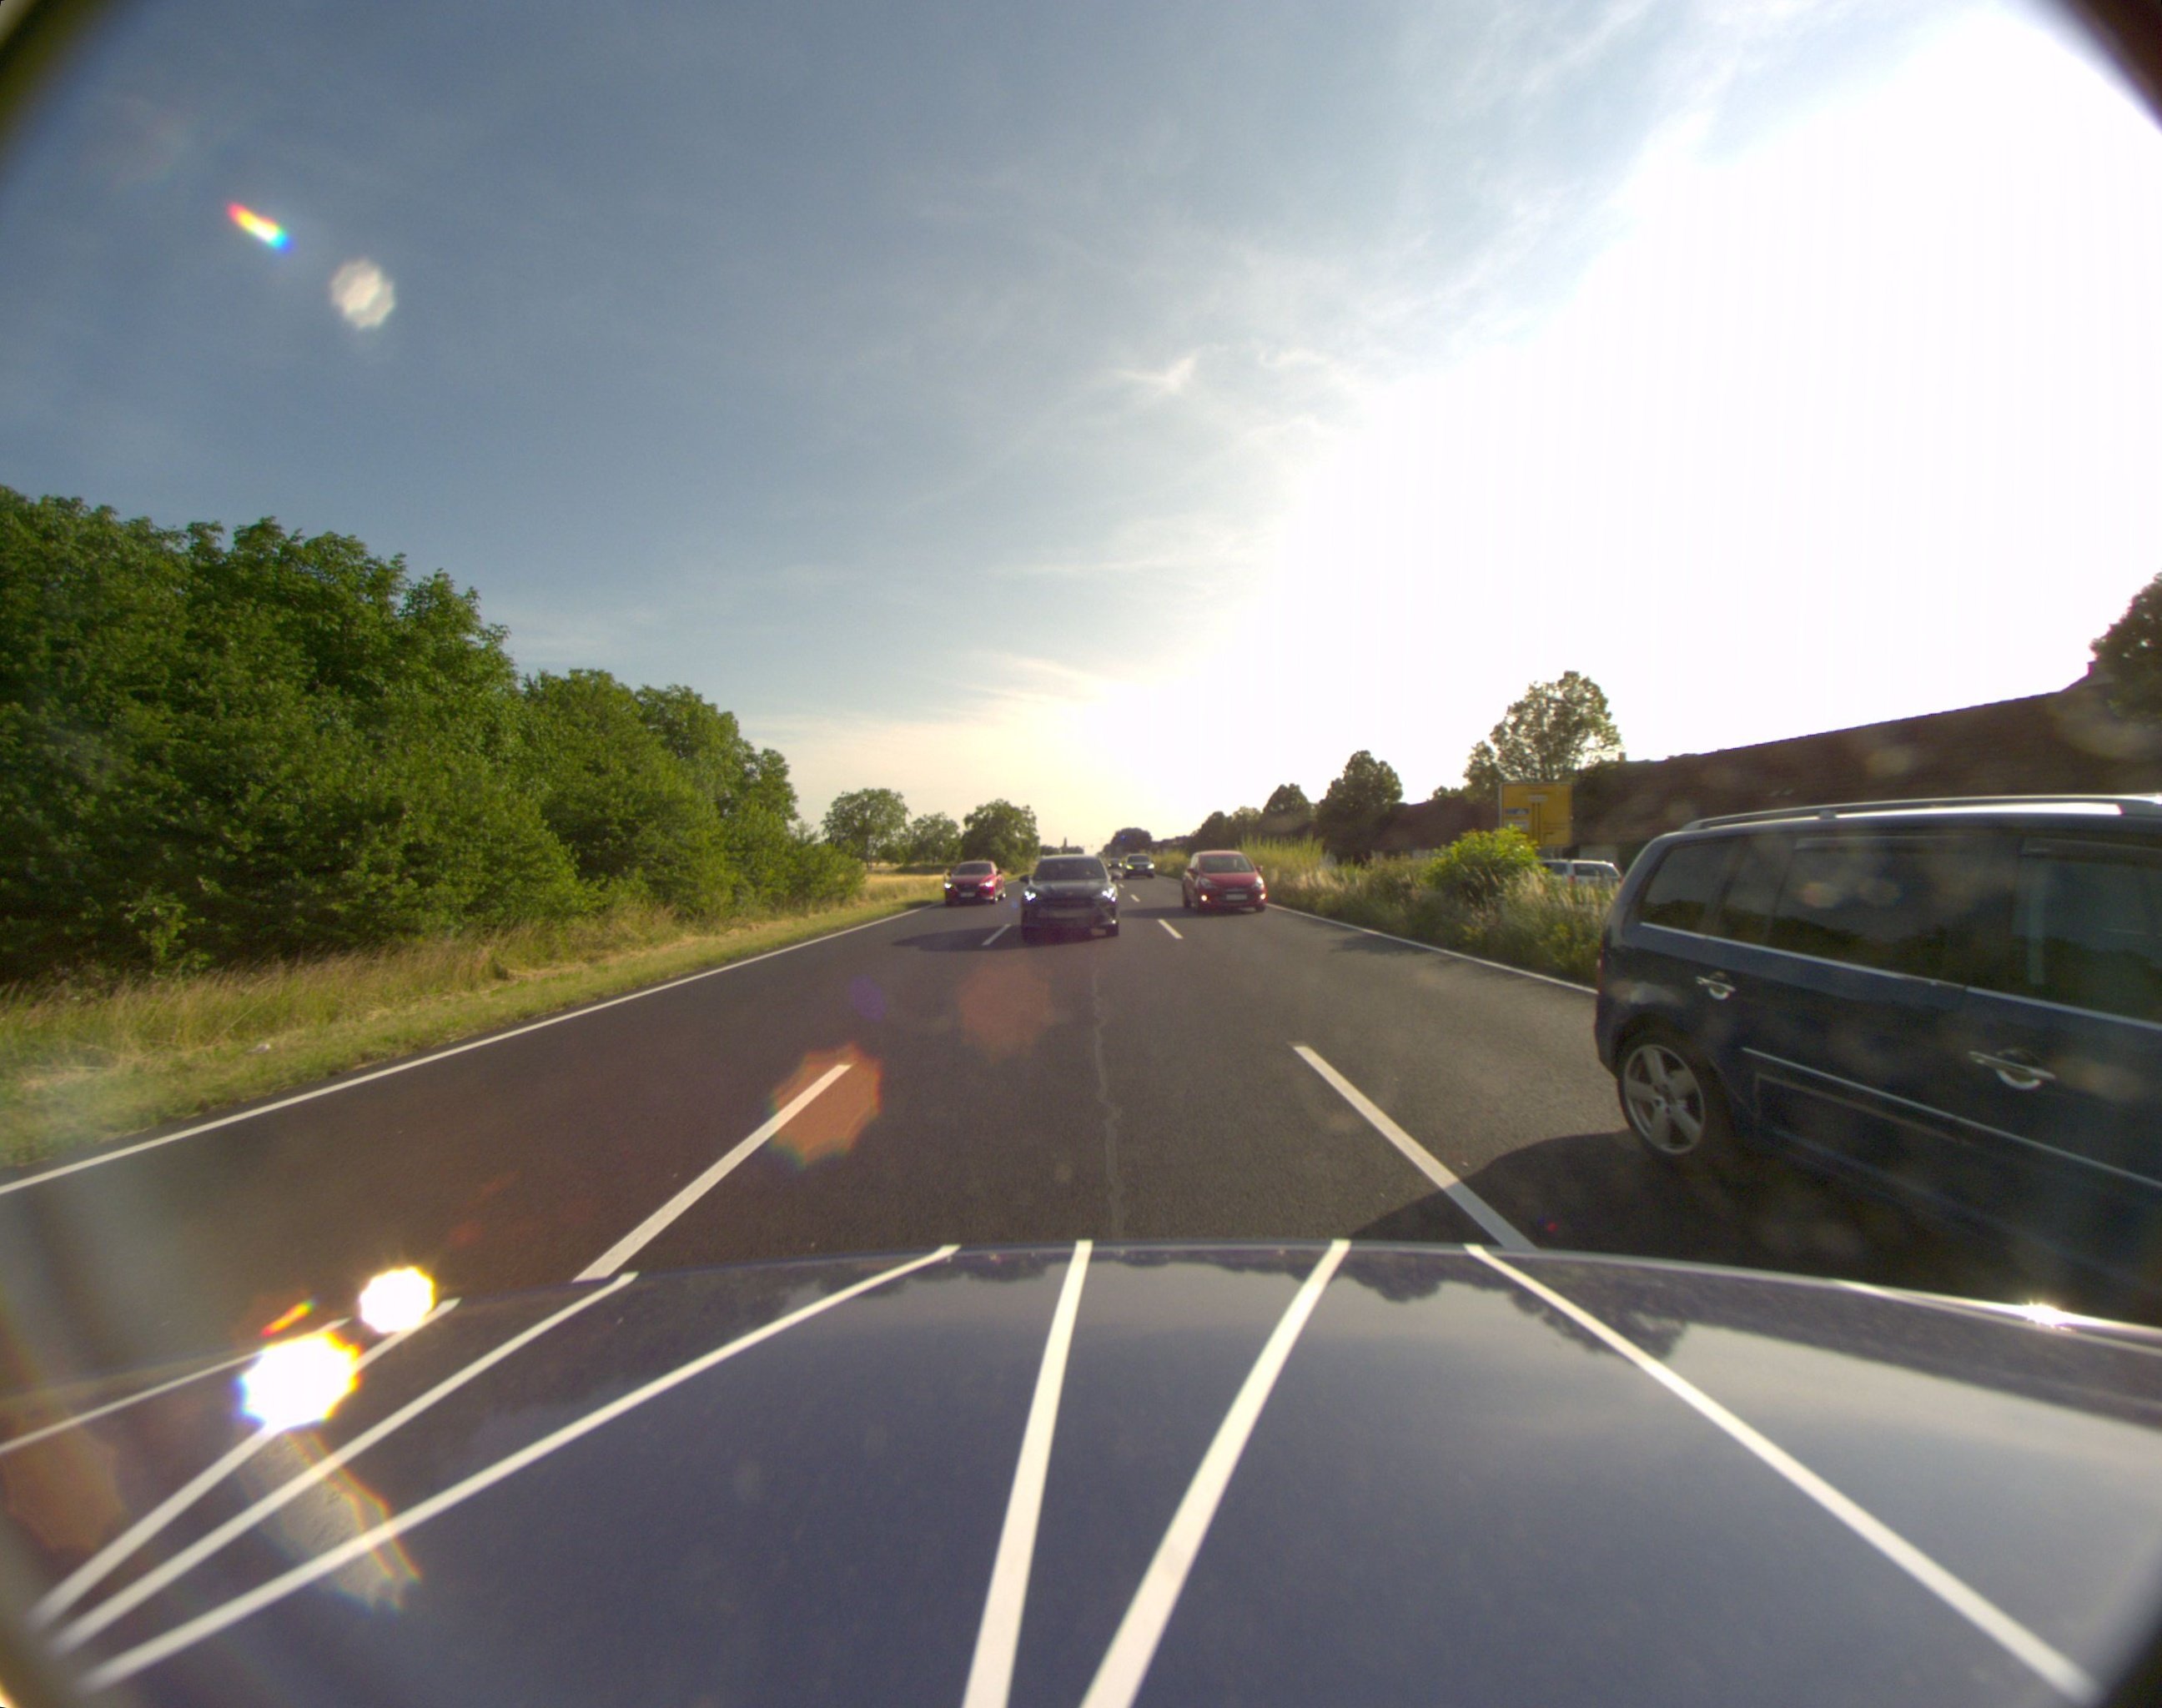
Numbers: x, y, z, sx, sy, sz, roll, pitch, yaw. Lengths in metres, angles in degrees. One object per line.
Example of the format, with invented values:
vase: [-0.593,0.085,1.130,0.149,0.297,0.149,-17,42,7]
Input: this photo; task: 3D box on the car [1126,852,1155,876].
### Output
car: [4.106,0.642,52.792,1.719,1.521,4.000,-2,1,1]

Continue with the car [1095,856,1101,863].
car: [5.224,1.600,234.523,1.998,2.002,4.000,-2,1,1]

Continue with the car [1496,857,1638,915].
car: [14.729,0.905,23.339,1.693,1.500,4.185,-2,1,0]

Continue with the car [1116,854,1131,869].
car: [5.801,1.052,103.789,1.918,1.871,4.000,-2,1,1]

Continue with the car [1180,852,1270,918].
car: [3.828,0.770,20.845,1.748,1.537,4.000,-2,1,1]

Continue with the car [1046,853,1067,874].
car: [-2.542,0.970,77.848,1.999,2.002,3.999,-2,1,-2]

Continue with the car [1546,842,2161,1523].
car: [3.493,0.792,1.973,1.777,1.612,4.681,-1,1,1]

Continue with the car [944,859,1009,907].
car: [-3.737,0.995,27.871,1.708,1.497,4.500,-2,1,0]

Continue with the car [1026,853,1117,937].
car: [-0.149,0.832,17.631,1.791,1.594,4.339,-2,1,1]
